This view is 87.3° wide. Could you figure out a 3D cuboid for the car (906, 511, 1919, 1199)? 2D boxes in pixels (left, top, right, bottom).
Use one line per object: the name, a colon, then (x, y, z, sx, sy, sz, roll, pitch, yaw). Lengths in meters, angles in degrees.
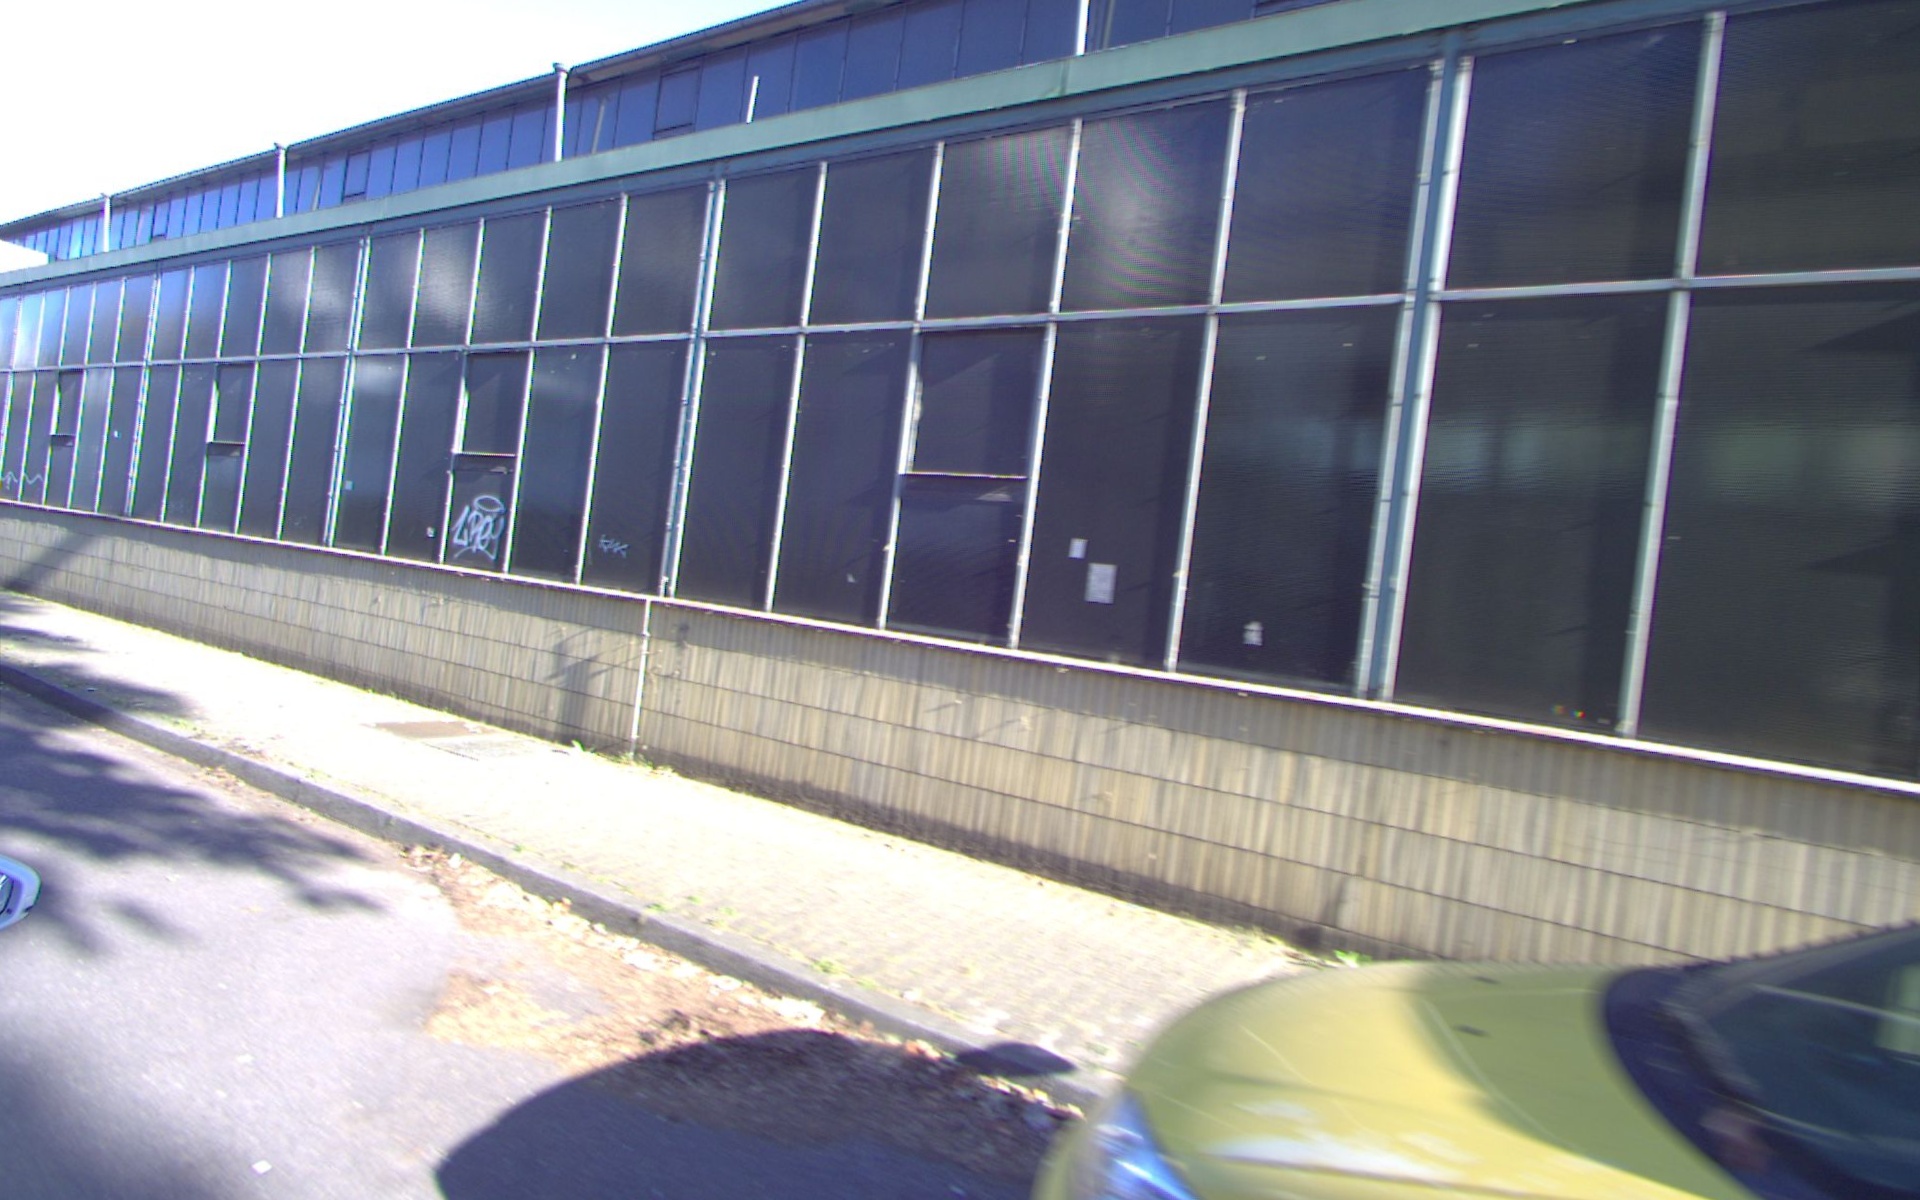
car: (2.056, 0.973, 1.157, 3.934, 1.654, 1.755, 6, -2, 30)
